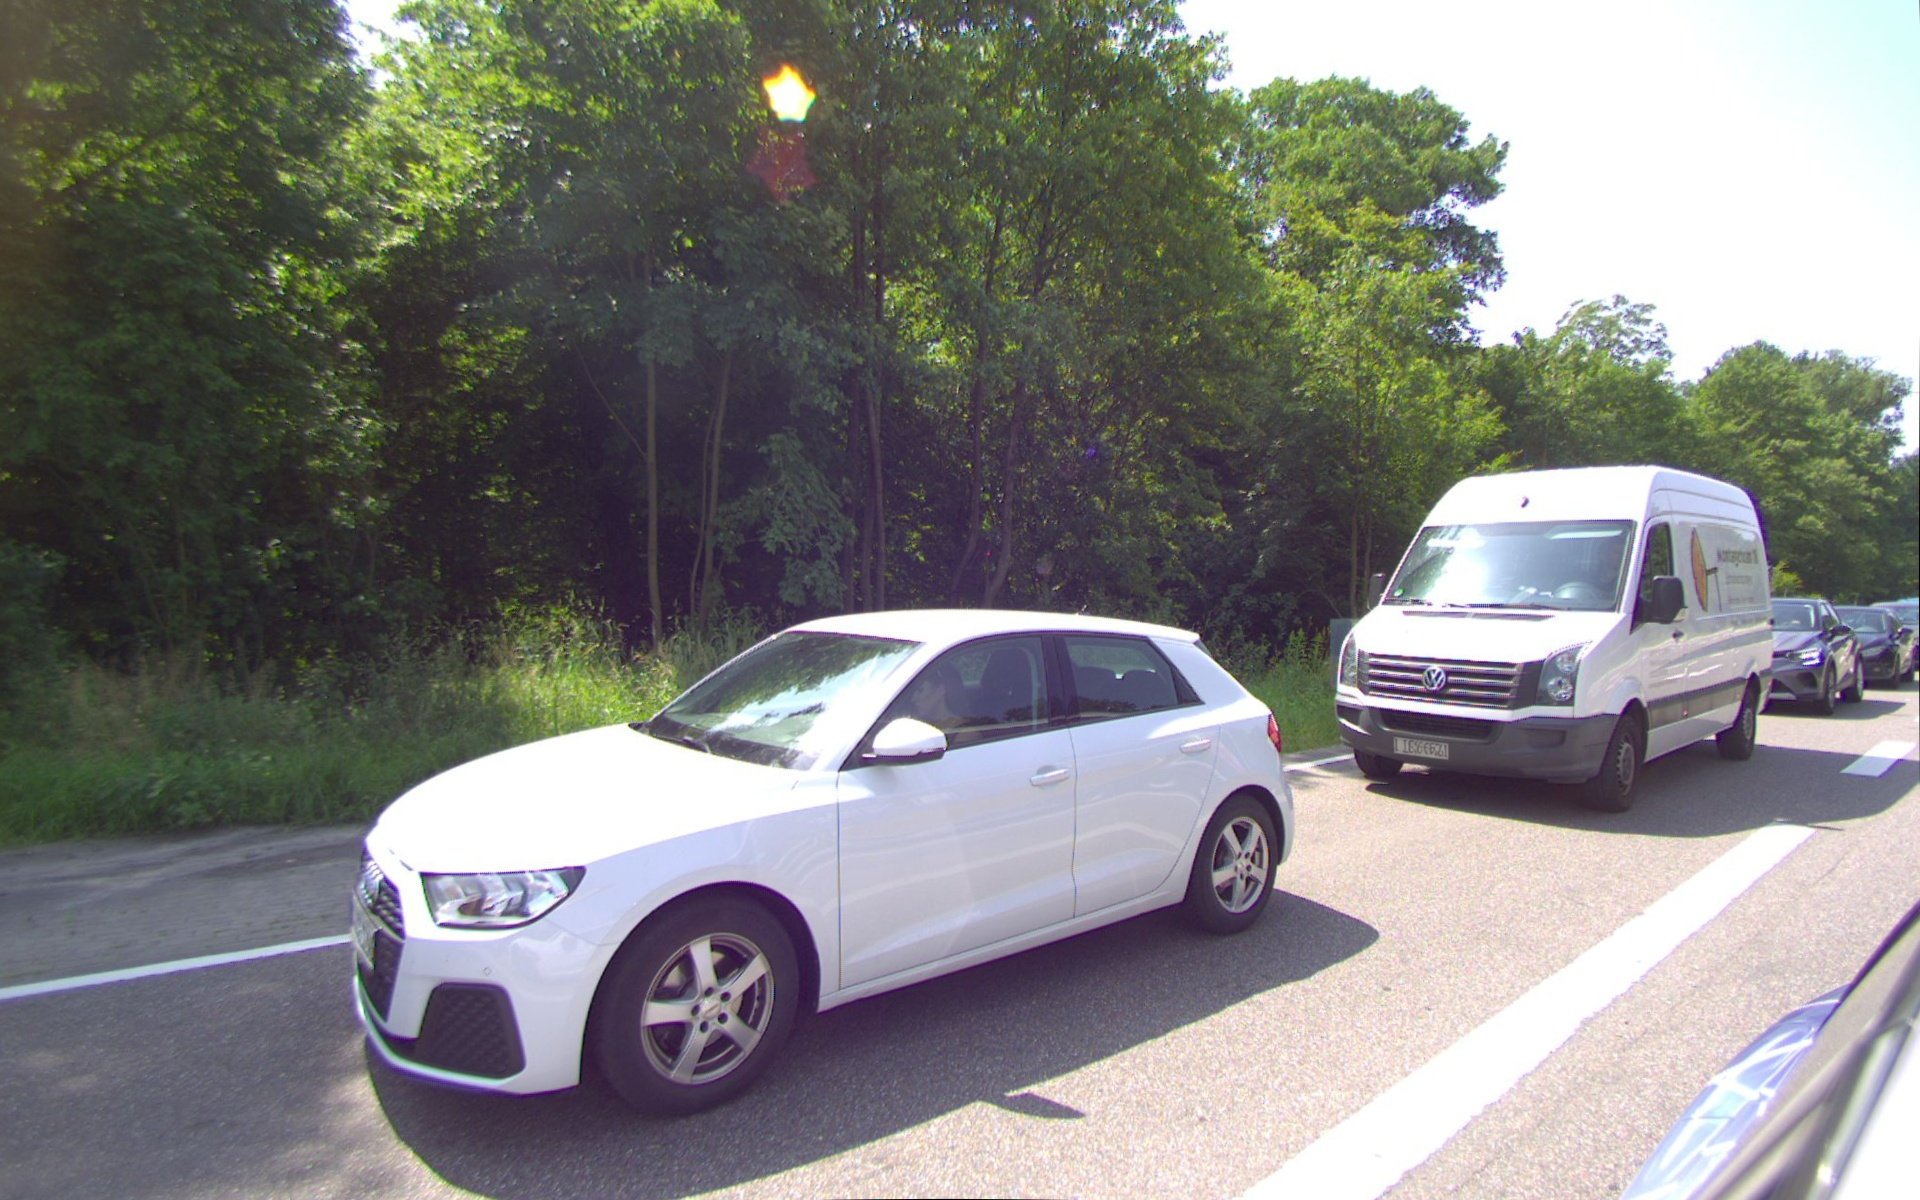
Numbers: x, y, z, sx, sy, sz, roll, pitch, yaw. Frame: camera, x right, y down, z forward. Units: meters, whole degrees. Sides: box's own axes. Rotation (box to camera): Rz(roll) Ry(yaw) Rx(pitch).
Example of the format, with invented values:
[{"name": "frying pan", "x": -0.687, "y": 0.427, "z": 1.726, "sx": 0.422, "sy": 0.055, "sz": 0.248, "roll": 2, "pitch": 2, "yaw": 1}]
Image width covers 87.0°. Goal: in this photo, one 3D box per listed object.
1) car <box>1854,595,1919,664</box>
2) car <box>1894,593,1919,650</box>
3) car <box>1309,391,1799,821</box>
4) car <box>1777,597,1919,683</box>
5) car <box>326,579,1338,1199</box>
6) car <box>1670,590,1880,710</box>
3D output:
[{"name": "car", "x": 22.140, "y": 0.633, "z": 23.392, "sx": 4.157, "sy": 1.457, "sz": 1.794, "roll": 0, "pitch": 1, "yaw": -43}, {"name": "car", "x": 26.751, "y": 0.571, "z": 27.408, "sx": 4.157, "sy": 1.457, "sz": 1.794, "roll": 0, "pitch": 1, "yaw": -43}, {"name": "car", "x": 5.572, "y": 0.035, "z": 9.009, "sx": 5.953, "sy": 2.679, "sz": 1.973, "roll": 0, "pitch": 0, "yaw": -41}, {"name": "car", "x": 16.615, "y": 0.647, "z": 18.696, "sx": 4.157, "sy": 1.372, "sz": 1.794, "roll": 0, "pitch": 1, "yaw": -43}, {"name": "car", "x": -0.260, "y": 0.686, "z": 4.259, "sx": 3.927, "sy": 1.454, "sz": 1.693, "roll": 0, "pitch": -1, "yaw": -39}, {"name": "car", "x": 11.858, "y": 0.610, "z": 14.627, "sx": 4.157, "sy": 1.479, "sz": 1.794, "roll": 0, "pitch": 0, "yaw": -43}]
